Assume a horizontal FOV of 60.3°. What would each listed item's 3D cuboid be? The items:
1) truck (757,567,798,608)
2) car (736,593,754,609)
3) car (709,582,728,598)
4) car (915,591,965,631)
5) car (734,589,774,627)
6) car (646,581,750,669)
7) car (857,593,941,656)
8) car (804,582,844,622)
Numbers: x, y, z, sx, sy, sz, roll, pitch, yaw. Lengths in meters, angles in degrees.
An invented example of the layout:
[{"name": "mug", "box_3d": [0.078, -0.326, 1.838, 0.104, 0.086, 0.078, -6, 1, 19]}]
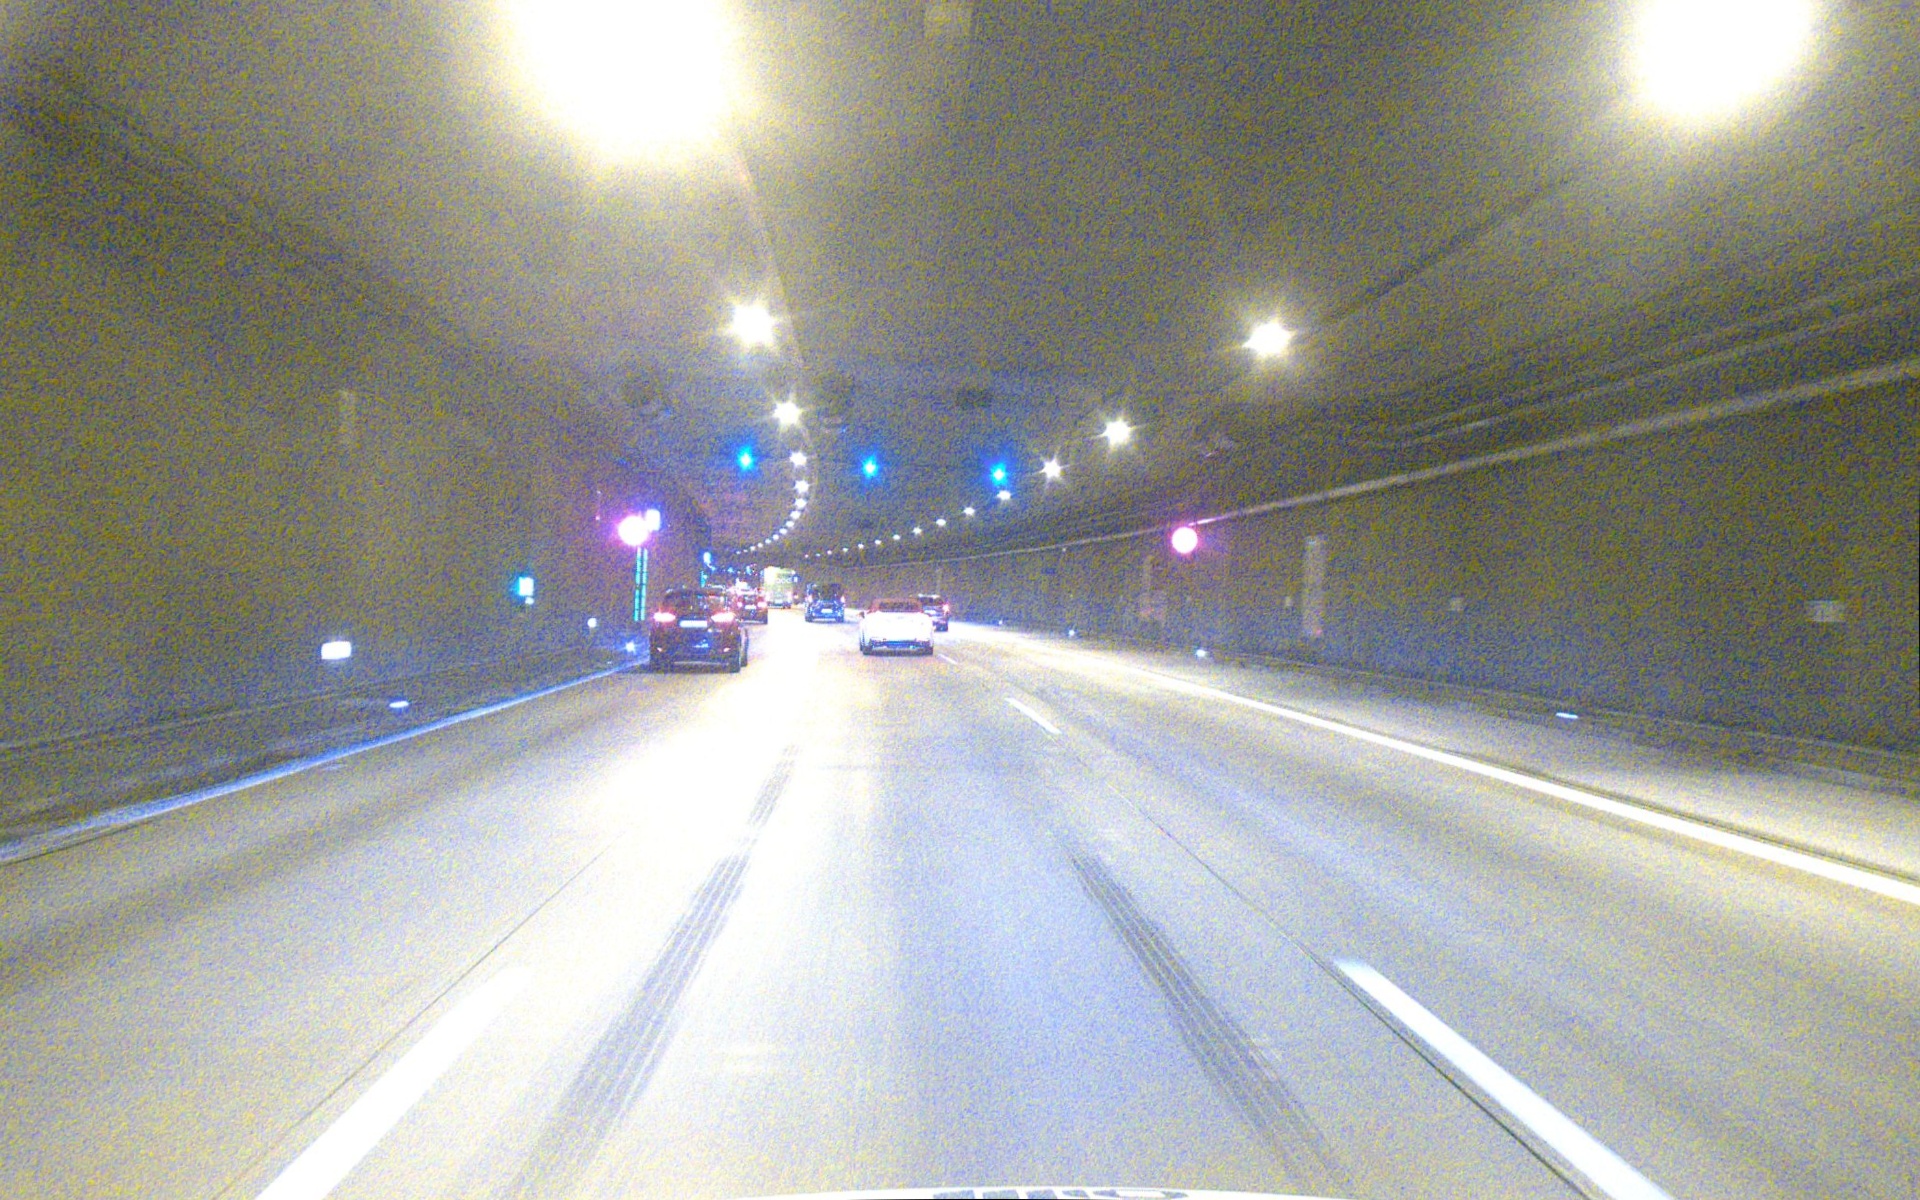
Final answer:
[{"name": "truck", "box_3d": [-15.124, -1.068, 136.703, 3.025, 3.167, 10.011, 2, 1, -8]}, {"name": "car", "box_3d": [-24.390, 0.137, 187.814, 1.955, 1.785, 3.994, 2, -1, -7]}, {"name": "car", "box_3d": [-25.407, -1.006, 173.957, 1.957, 1.557, 3.992, 2, -1, -9]}, {"name": "car", "box_3d": [-0.873, 0.452, 69.260, 1.804, 1.630, 3.996, 1, 0, -5]}, {"name": "car", "box_3d": [-9.835, 0.374, 79.098, 1.766, 1.713, 3.995, 1, 0, -6]}, {"name": "car", "box_3d": [-5.159, 0.468, 32.922, 1.750, 1.626, 3.797, 1, 0, -5]}, {"name": "car", "box_3d": [-1.624, 0.598, 42.520, 1.955, 1.509, 3.996, 1, 0, -5]}, {"name": "car", "box_3d": [-6.916, 0.108, 84.253, 1.954, 2.006, 3.996, 1, 0, -5]}]
